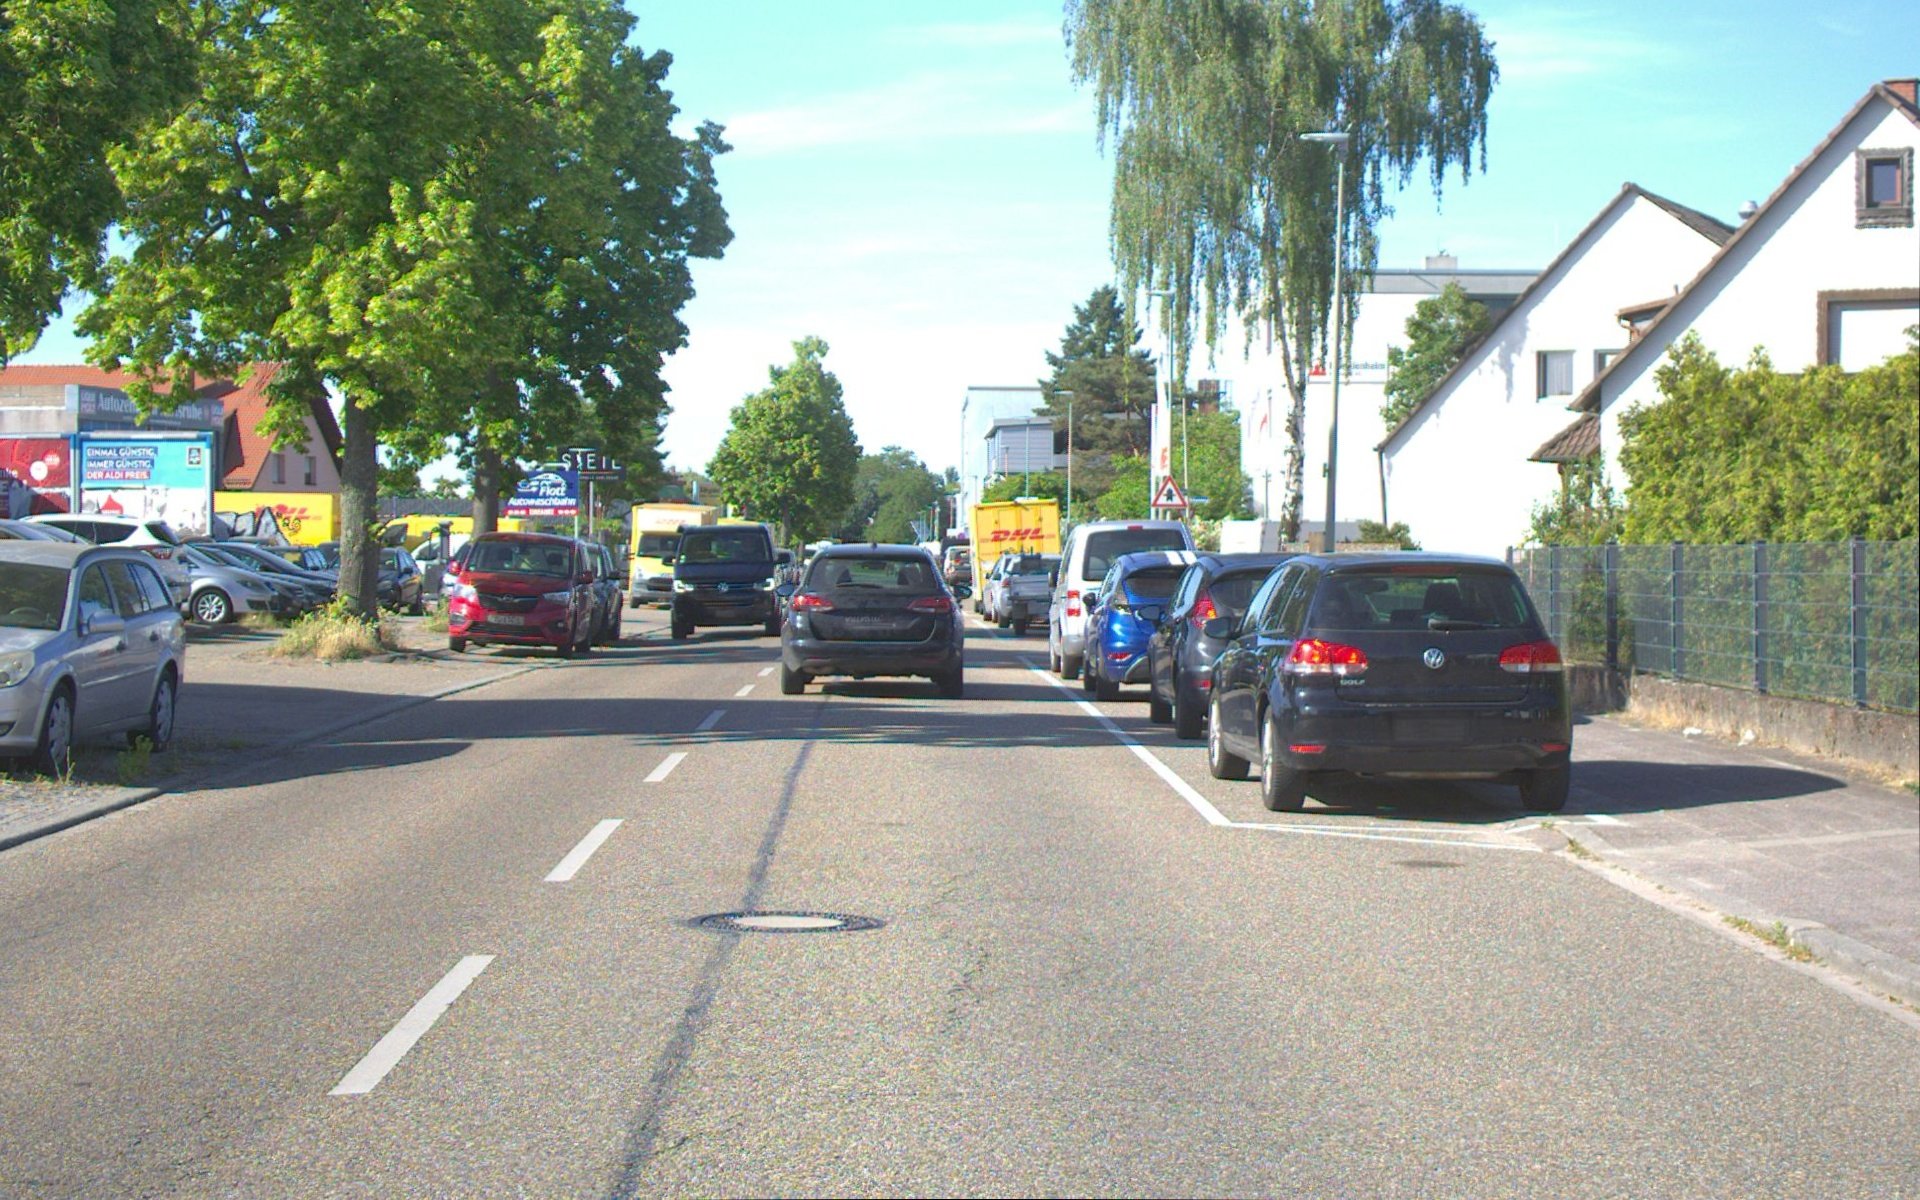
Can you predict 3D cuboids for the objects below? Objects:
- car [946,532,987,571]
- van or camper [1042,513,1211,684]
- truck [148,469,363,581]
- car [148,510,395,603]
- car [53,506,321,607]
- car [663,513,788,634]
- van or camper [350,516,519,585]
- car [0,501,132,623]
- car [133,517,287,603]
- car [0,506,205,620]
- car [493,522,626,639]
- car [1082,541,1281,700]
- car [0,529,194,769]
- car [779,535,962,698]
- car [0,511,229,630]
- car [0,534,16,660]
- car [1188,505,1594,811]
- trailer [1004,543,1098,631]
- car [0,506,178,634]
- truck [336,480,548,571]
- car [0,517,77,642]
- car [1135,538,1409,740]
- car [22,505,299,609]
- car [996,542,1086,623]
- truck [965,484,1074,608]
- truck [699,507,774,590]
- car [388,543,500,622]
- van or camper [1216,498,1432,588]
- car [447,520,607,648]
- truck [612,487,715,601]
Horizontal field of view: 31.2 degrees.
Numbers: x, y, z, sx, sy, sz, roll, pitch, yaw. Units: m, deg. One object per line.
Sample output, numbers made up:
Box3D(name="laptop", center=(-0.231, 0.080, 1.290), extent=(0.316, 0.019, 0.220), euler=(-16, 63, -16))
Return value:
Box3D(name="car", center=(0.317, -2.354, 167.153), extent=(1.919, 1.819, 4.080), euler=(1, 1, -1))
Box3D(name="van or camper", center=(1.913, -0.044, 40.618), extent=(1.718, 1.884, 4.180), euler=(1, 1, -1))
Box3D(name="truck", center=(-21.014, -2.236, 102.635), extent=(5.671, 3.109, 2.522), euler=(2, 1, 10))
Box3D(name="car", center=(-12.983, -0.820, 64.966), extent=(4.249, 1.723, 1.765), euler=(0, 1, 5))
Box3D(name="car", center=(-13.527, -0.769, 60.283), extent=(4.249, 1.723, 1.765), euler=(0, 1, 5))
Box3D(name="car", center=(-4.129, -0.482, 61.151), extent=(1.894, 2.024, 4.818), euler=(-1, 1, -1))
Box3D(name="van or camper", center=(-15.579, -1.465, 102.122), extent=(4.544, 2.007, 2.250), euler=(0, 1, 6))
Box3D(name="car", center=(-13.449, -0.551, 46.166), extent=(4.248, 1.580, 1.766), euler=(1, 1, -2))
Box3D(name="car", center=(-16.069, -0.891, 73.877), extent=(1.777, 1.742, 4.162), euler=(1, 2, 10))
Box3D(name="car", center=(-14.024, -0.573, 53.183), extent=(4.249, 1.723, 1.765), euler=(0, 1, 5))
Box3D(name="car", center=(-6.512, -0.350, 56.243), extent=(1.674, 1.765, 4.555), euler=(3, 1, -1))
Box3D(name="car", center=(2.181, 0.171, 34.664), extent=(1.718, 1.499, 3.564), euler=(1, 1, -1))
Box3D(name="car", center=(-6.611, 0.254, 23.485), extent=(1.687, 1.430, 4.209), euler=(3, 1, 1))
Box3D(name="car", center=(-0.835, 0.121, 34.030), extent=(1.711, 1.527, 3.687), euler=(0, 1, 0))
Box3D(name="car", center=(-13.200, -0.450, 51.057), extent=(4.249, 1.723, 1.765), euler=(0, 1, 5))
Box3D(name="car", center=(-13.786, -0.069, 41.494), extent=(4.249, 1.536, 1.765), euler=(1, 1, 5))
Box3D(name="car", center=(2.492, 0.282, 20.771), extent=(1.775, 1.653, 3.817), euler=(1, 1, -3))
Box3D(name="trailer", center=(1.637, -0.257, 62.689), extent=(1.627, 1.533, 3.198), euler=(1, 1, 0))
Box3D(name="car", center=(-13.290, -0.431, 48.112), extent=(4.249, 1.746, 1.766), euler=(0, 1, 3))
Box3D(name="truck", center=(-15.792, -2.273, 104.836), extent=(5.924, 2.559, 2.223), euler=(2, 1, 11))
Box3D(name="car", center=(-13.620, -0.281, 43.792), extent=(4.249, 1.536, 1.766), euler=(0, 2, 4))
Box3D(name="car", center=(2.463, 0.267, 27.996), extent=(1.718, 1.499, 3.907), euler=(1, 1, -2))
Box3D(name="car", center=(-13.470, -0.724, 58.033), extent=(4.249, 1.723, 1.766), euler=(0, 1, 1))
Box3D(name="car", center=(1.644, -0.377, 68.606), extent=(1.674, 1.537, 4.043), euler=(1, 1, 3))
Box3D(name="truck", center=(1.452, -1.354, 86.781), extent=(2.402, 2.926, 7.017), euler=(-2, 1, -1))
Box3D(name="truck", center=(-8.438, -1.952, 130.416), extent=(2.402, 2.973, 6.374), euler=(2, 1, -1))
Box3D(name="car", center=(-11.090, -0.352, 74.098), extent=(1.861, 1.584, 4.276), euler=(0, -1, -2))
Box3D(name="van or camper", center=(10.476, -1.626, 98.867), extent=(5.812, 2.532, 2.290), euler=(0, 1, -26))
Box3D(name="car", center=(-6.356, -0.254, 50.863), extent=(1.803, 1.746, 4.342), euler=(2, 1, -1))
Box3D(name="truck", center=(-8.270, -1.557, 96.477), extent=(2.402, 2.973, 7.246), euler=(2, 1, -2))
